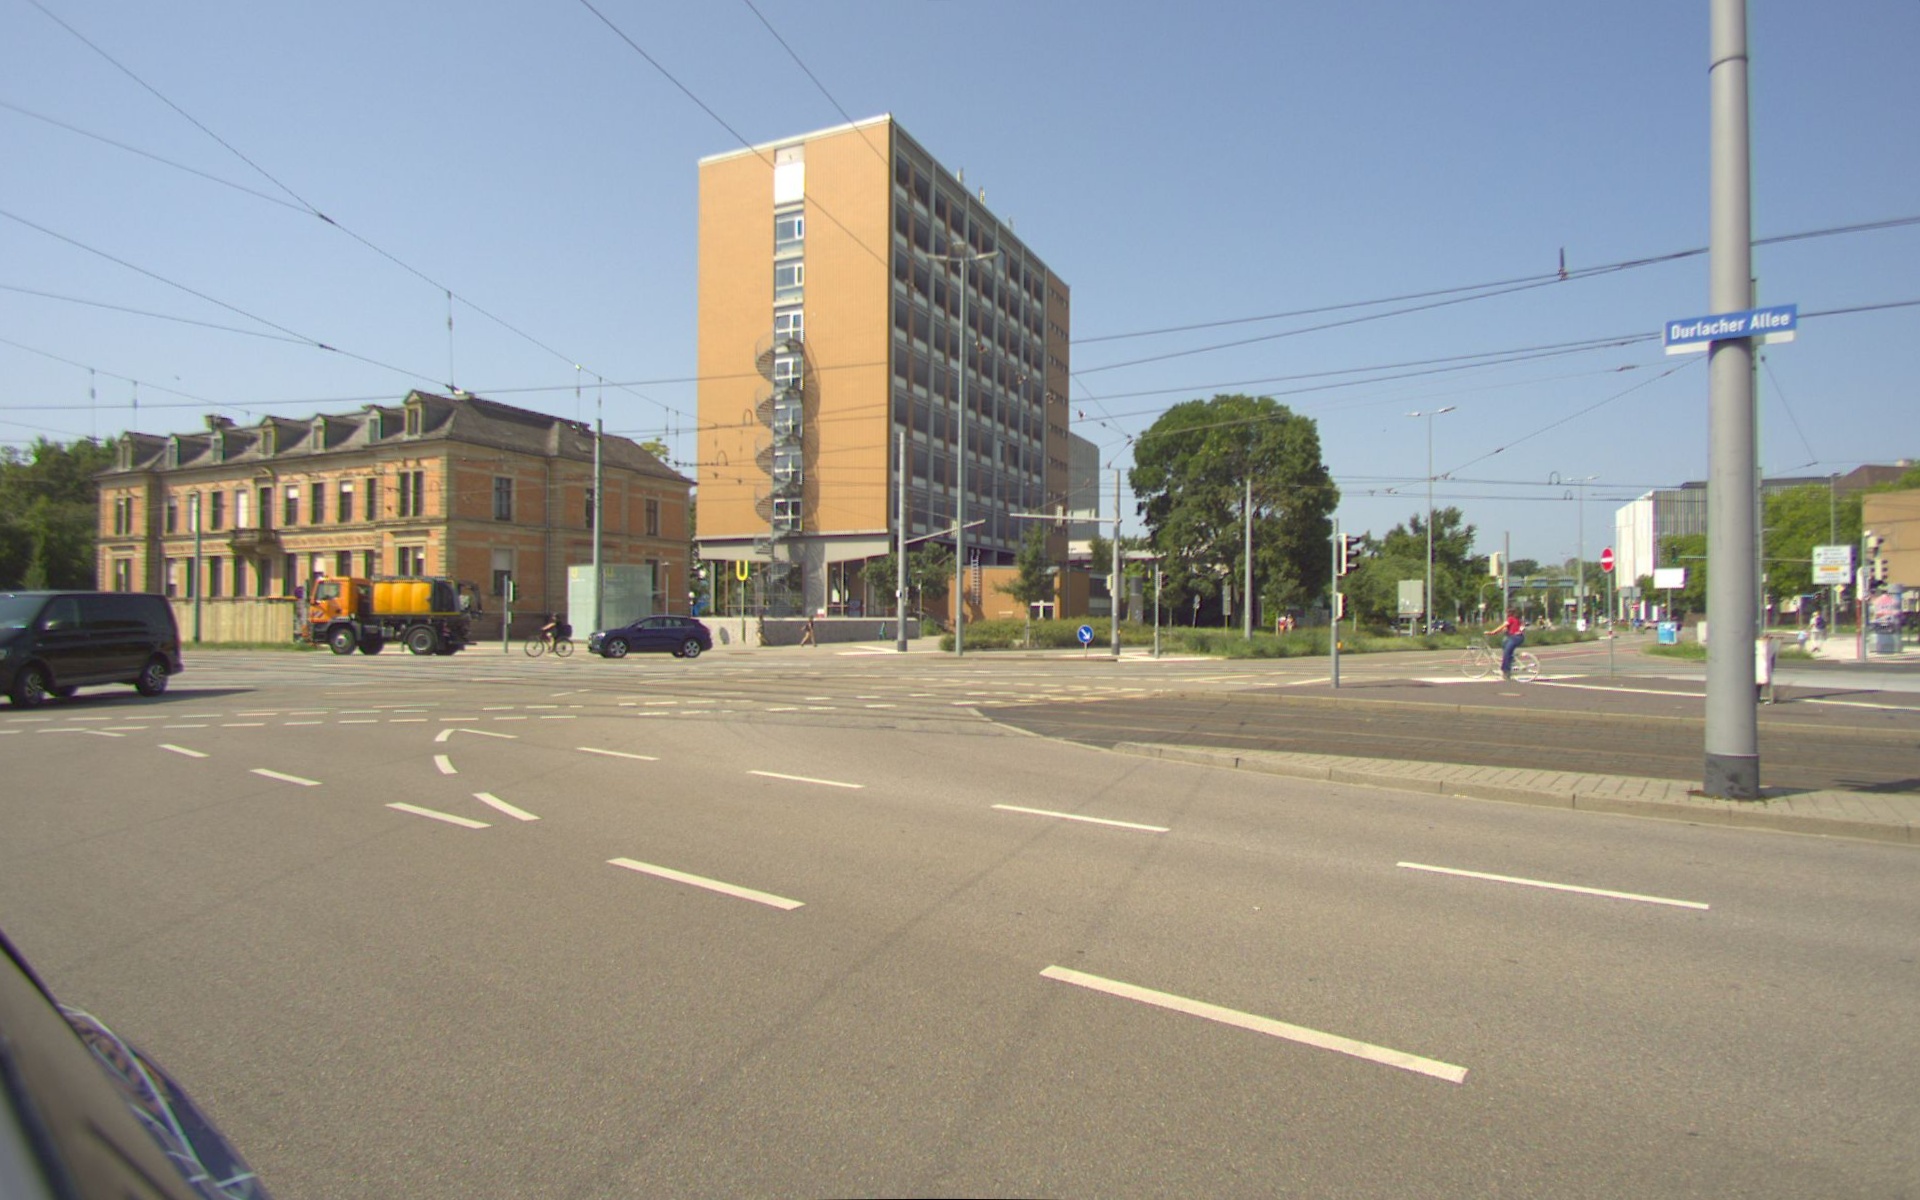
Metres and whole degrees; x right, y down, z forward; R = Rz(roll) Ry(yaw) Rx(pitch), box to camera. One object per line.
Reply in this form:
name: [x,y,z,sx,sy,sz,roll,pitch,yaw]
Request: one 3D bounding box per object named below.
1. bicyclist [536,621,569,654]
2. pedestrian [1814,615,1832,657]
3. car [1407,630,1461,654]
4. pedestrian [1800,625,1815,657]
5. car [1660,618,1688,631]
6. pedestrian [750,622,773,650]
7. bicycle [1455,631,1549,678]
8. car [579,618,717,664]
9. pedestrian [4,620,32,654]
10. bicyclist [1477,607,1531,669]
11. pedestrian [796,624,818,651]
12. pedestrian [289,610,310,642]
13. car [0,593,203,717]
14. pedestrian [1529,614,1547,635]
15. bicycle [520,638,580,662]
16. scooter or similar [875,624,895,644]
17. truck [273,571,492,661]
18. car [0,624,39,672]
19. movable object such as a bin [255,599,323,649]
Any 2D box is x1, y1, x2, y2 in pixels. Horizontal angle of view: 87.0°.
bicyclist: [-16.026,1.459,39.765,1.087,1.276,0.860,1,-2,-29]
pedestrian: [37.767,1.572,44.278,0.560,1.830,0.553,-1,-2,39]
car: [37.047,3.266,79.127,3.932,1.807,2.005,0,-3,-33]
pedestrian: [37.245,1.786,44.485,0.461,1.385,0.345,-1,-2,39]
car: [87.306,2.995,123.725,4.585,1.665,1.905,1,-2,-42]
pedestrian: [-10.131,1.810,51.637,0.786,1.405,0.837,-1,-2,40]
bicycle: [13.167,1.313,24.630,1.912,1.077,0.606,-1,-2,42]
car: [-11.762,1.517,38.195,4.619,1.653,2.006,1,-1,-32]
pedestrian: [-38.315,1.508,41.175,0.804,1.362,0.720,2,-2,-44]
bicyclist: [13.224,0.913,24.586,0.980,1.470,0.865,-1,-2,42]
pedestrian: [-7.920,1.925,52.313,0.786,1.405,0.837,-1,-2,40]
pedestrian: [-34.736,1.373,53.224,0.675,1.684,0.685,0,-1,-6]
car: [-16.091,0.859,17.854,1.874,1.945,4.886,1,0,-1]
pedestrian: [50.082,2.141,87.664,1.098,1.799,0.971,1,-2,-36]
bicycle: [-16.048,1.940,39.634,2.133,0.906,0.643,1,-2,-29]
scooter or similar: [-4.404,2.001,59.370,1.127,1.166,0.444,1,-2,-38]
truck: [-22.967,0.675,40.527,7.091,3.254,3.041,-1,-2,1]
car: [-28.478,1.359,28.522,3.447,1.349,1.522,1,-1,-27]
movable object such as a bin: [-37.272,1.326,56.173,4.448,2.692,1.795,-1,-2,37]
